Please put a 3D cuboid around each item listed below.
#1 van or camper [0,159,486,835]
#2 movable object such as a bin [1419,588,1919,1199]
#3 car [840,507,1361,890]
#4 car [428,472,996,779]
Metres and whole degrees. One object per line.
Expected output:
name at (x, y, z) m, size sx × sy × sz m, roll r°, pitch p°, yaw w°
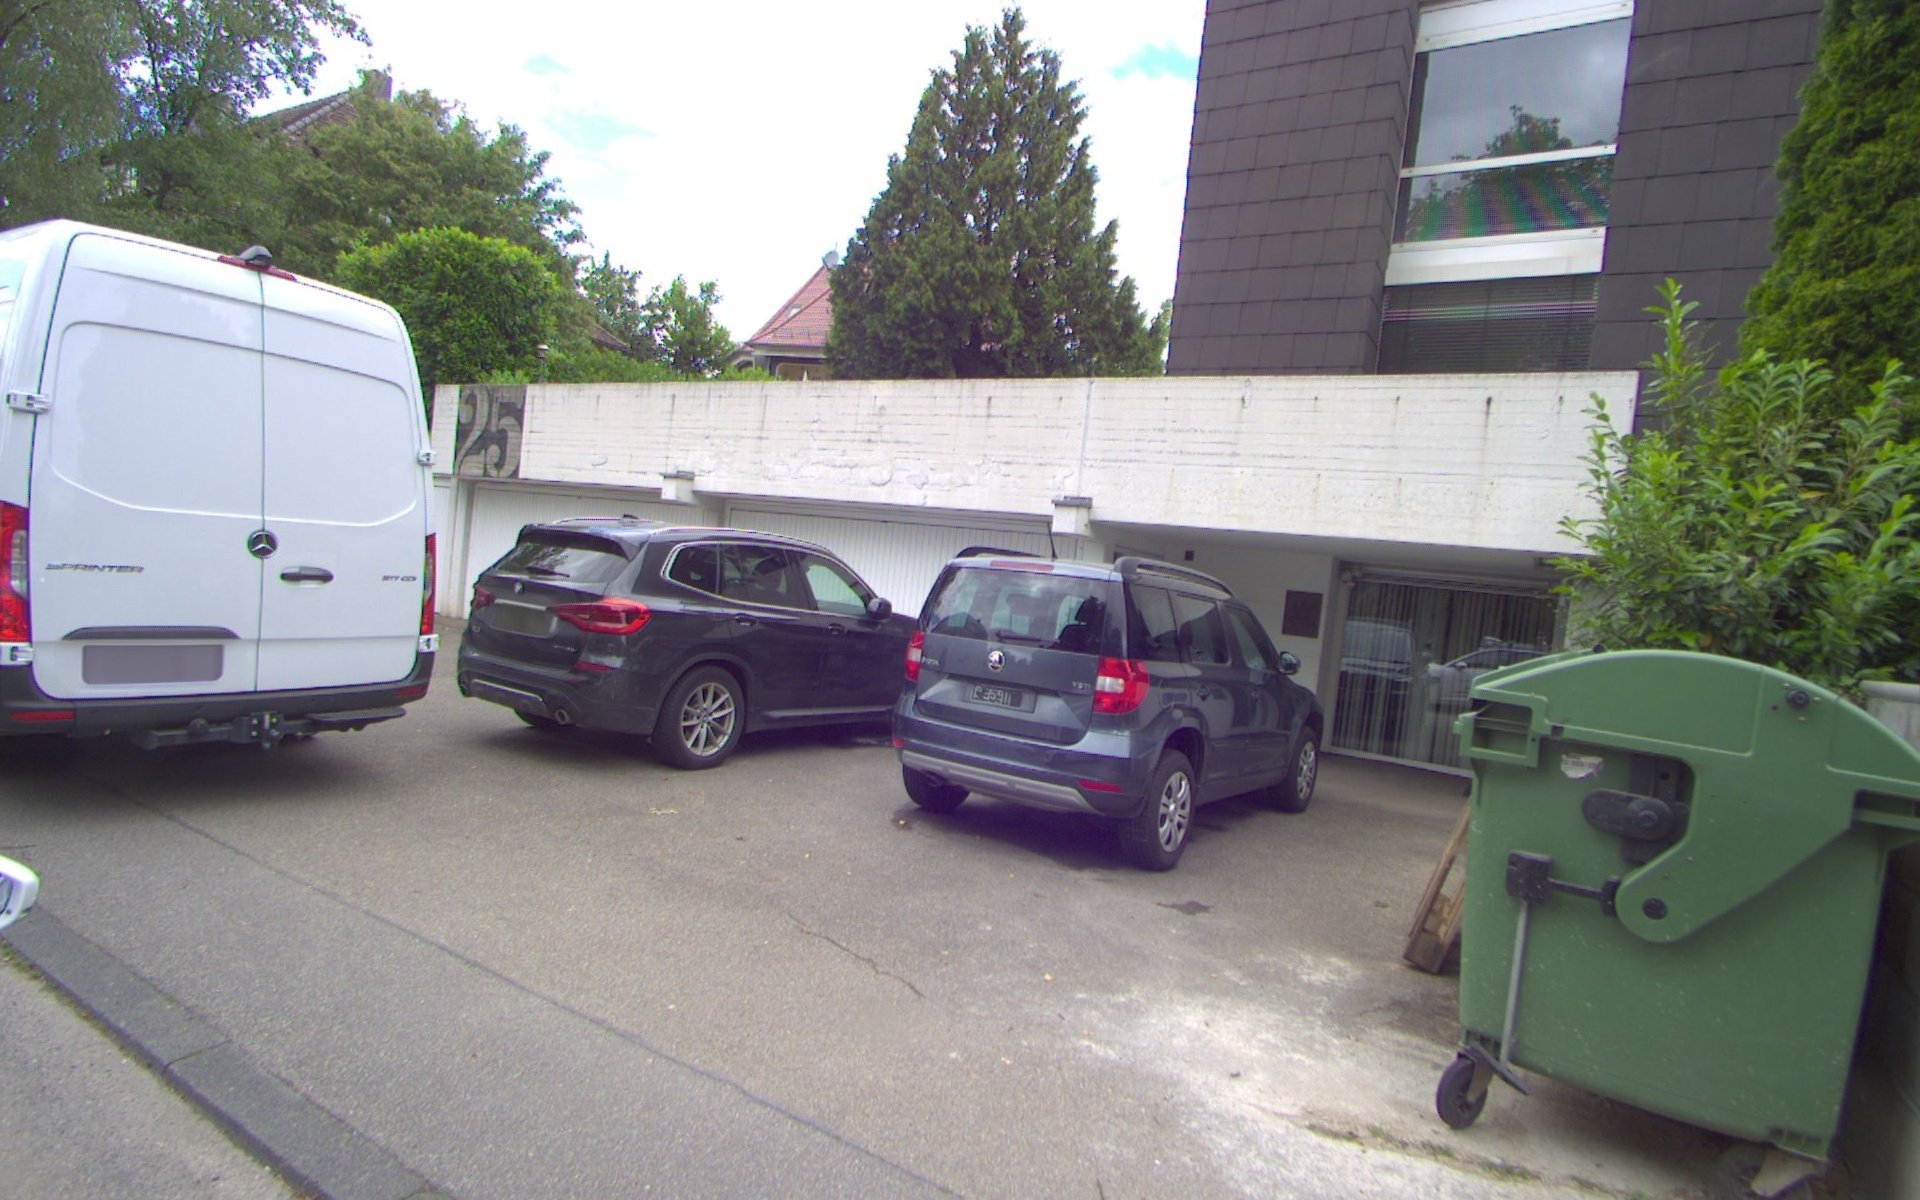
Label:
van or camper at (-5.991, -0.636, 6.460) m, size 6.432 × 2.653 × 1.995 m, roll 7°, pitch 1°, yaw 32°
movable object such as a bin at (2.067, 0.817, 2.949) m, size 1.016 × 1.550 × 1.034 m, roll 7°, pitch 1°, yaw 33°
car at (1.249, 0.548, 6.955) m, size 1.804 × 1.772 × 3.973 m, roll 7°, pitch 1°, yaw 35°
car at (-1.647, 0.222, 8.236) m, size 1.710 × 1.772 × 4.419 m, roll 7°, pitch 1°, yaw 33°
